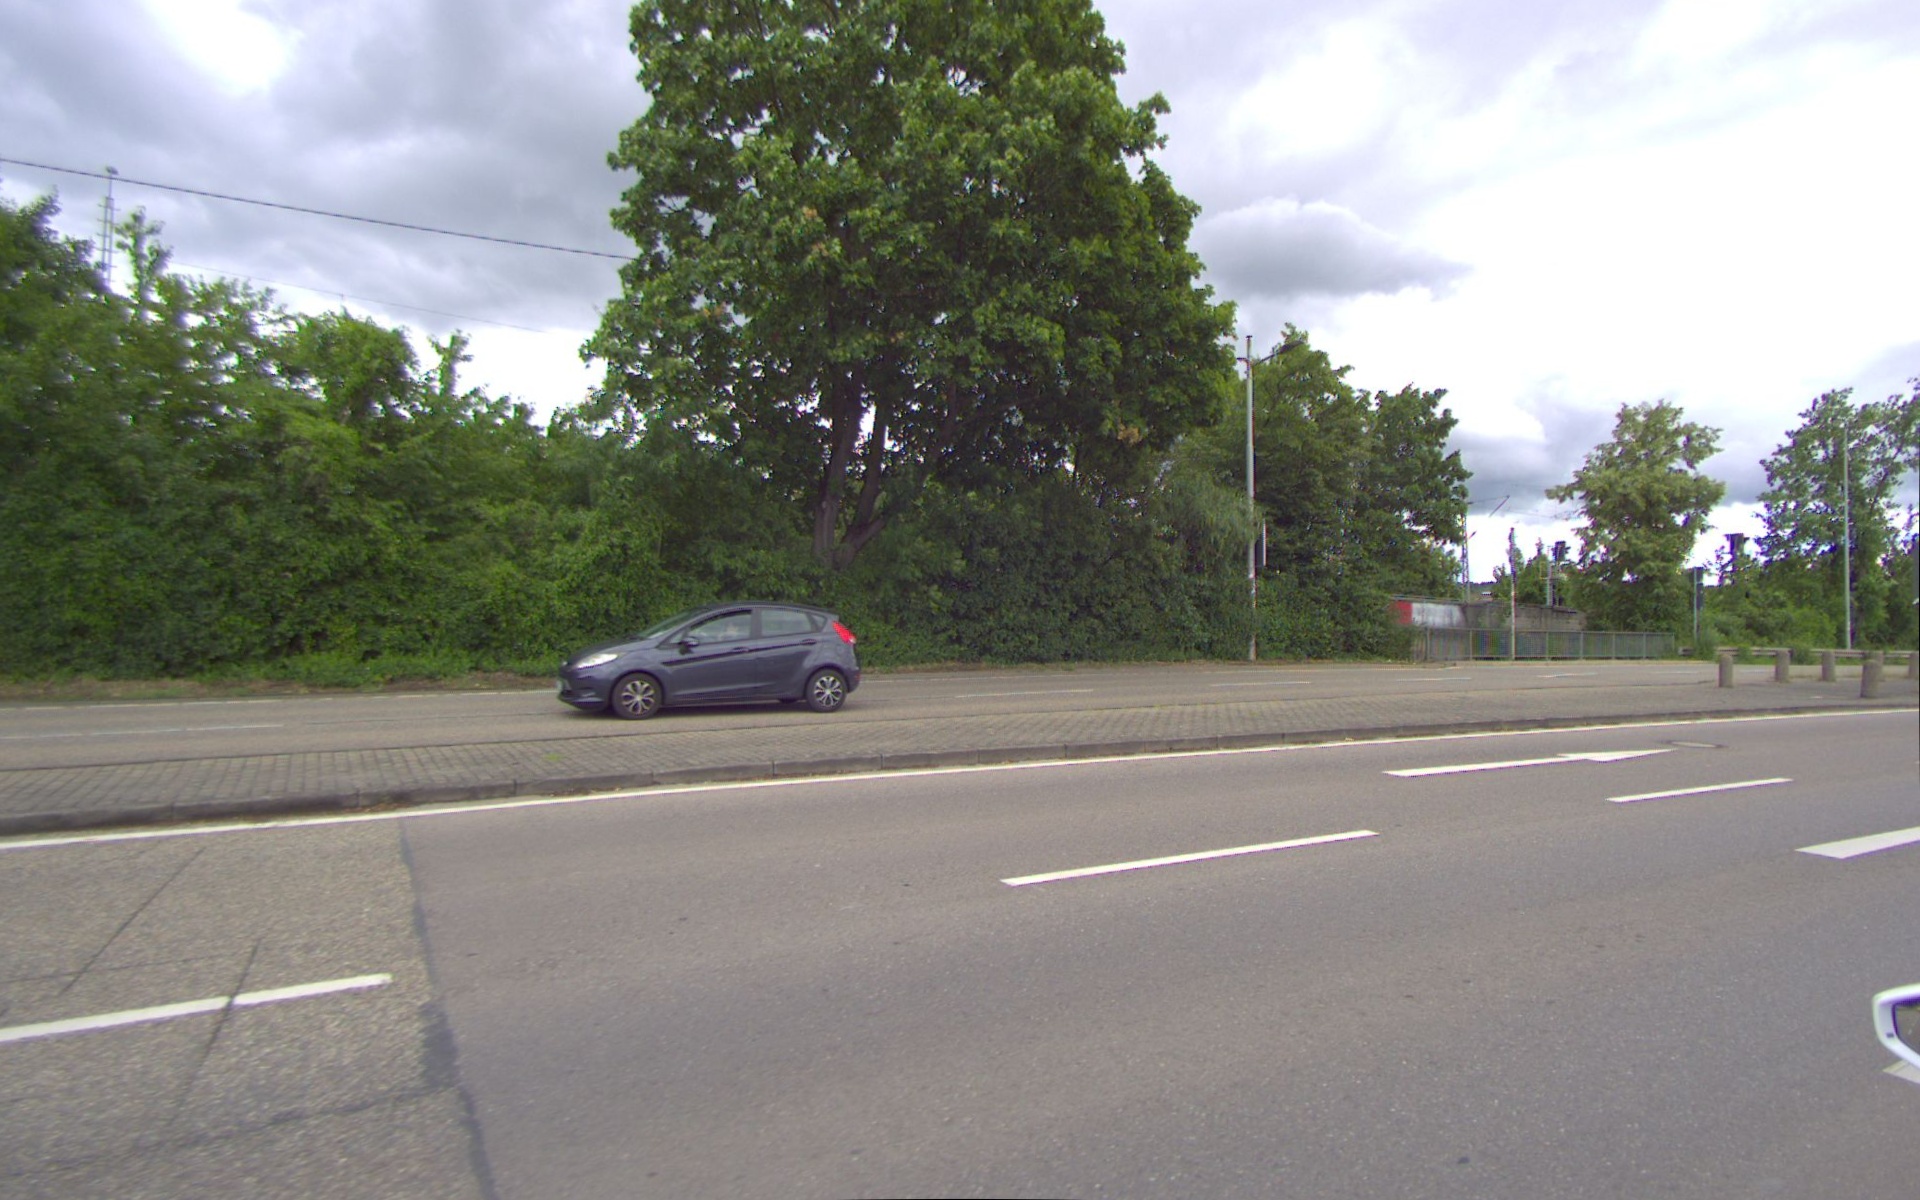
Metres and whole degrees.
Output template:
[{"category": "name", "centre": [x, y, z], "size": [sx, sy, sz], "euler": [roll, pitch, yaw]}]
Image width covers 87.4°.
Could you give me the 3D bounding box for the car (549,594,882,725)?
[{"category": "car", "centre": [-3.188, 0.732, 13.295], "size": [3.954, 1.483, 1.690], "euler": [2, 0, -31]}]
